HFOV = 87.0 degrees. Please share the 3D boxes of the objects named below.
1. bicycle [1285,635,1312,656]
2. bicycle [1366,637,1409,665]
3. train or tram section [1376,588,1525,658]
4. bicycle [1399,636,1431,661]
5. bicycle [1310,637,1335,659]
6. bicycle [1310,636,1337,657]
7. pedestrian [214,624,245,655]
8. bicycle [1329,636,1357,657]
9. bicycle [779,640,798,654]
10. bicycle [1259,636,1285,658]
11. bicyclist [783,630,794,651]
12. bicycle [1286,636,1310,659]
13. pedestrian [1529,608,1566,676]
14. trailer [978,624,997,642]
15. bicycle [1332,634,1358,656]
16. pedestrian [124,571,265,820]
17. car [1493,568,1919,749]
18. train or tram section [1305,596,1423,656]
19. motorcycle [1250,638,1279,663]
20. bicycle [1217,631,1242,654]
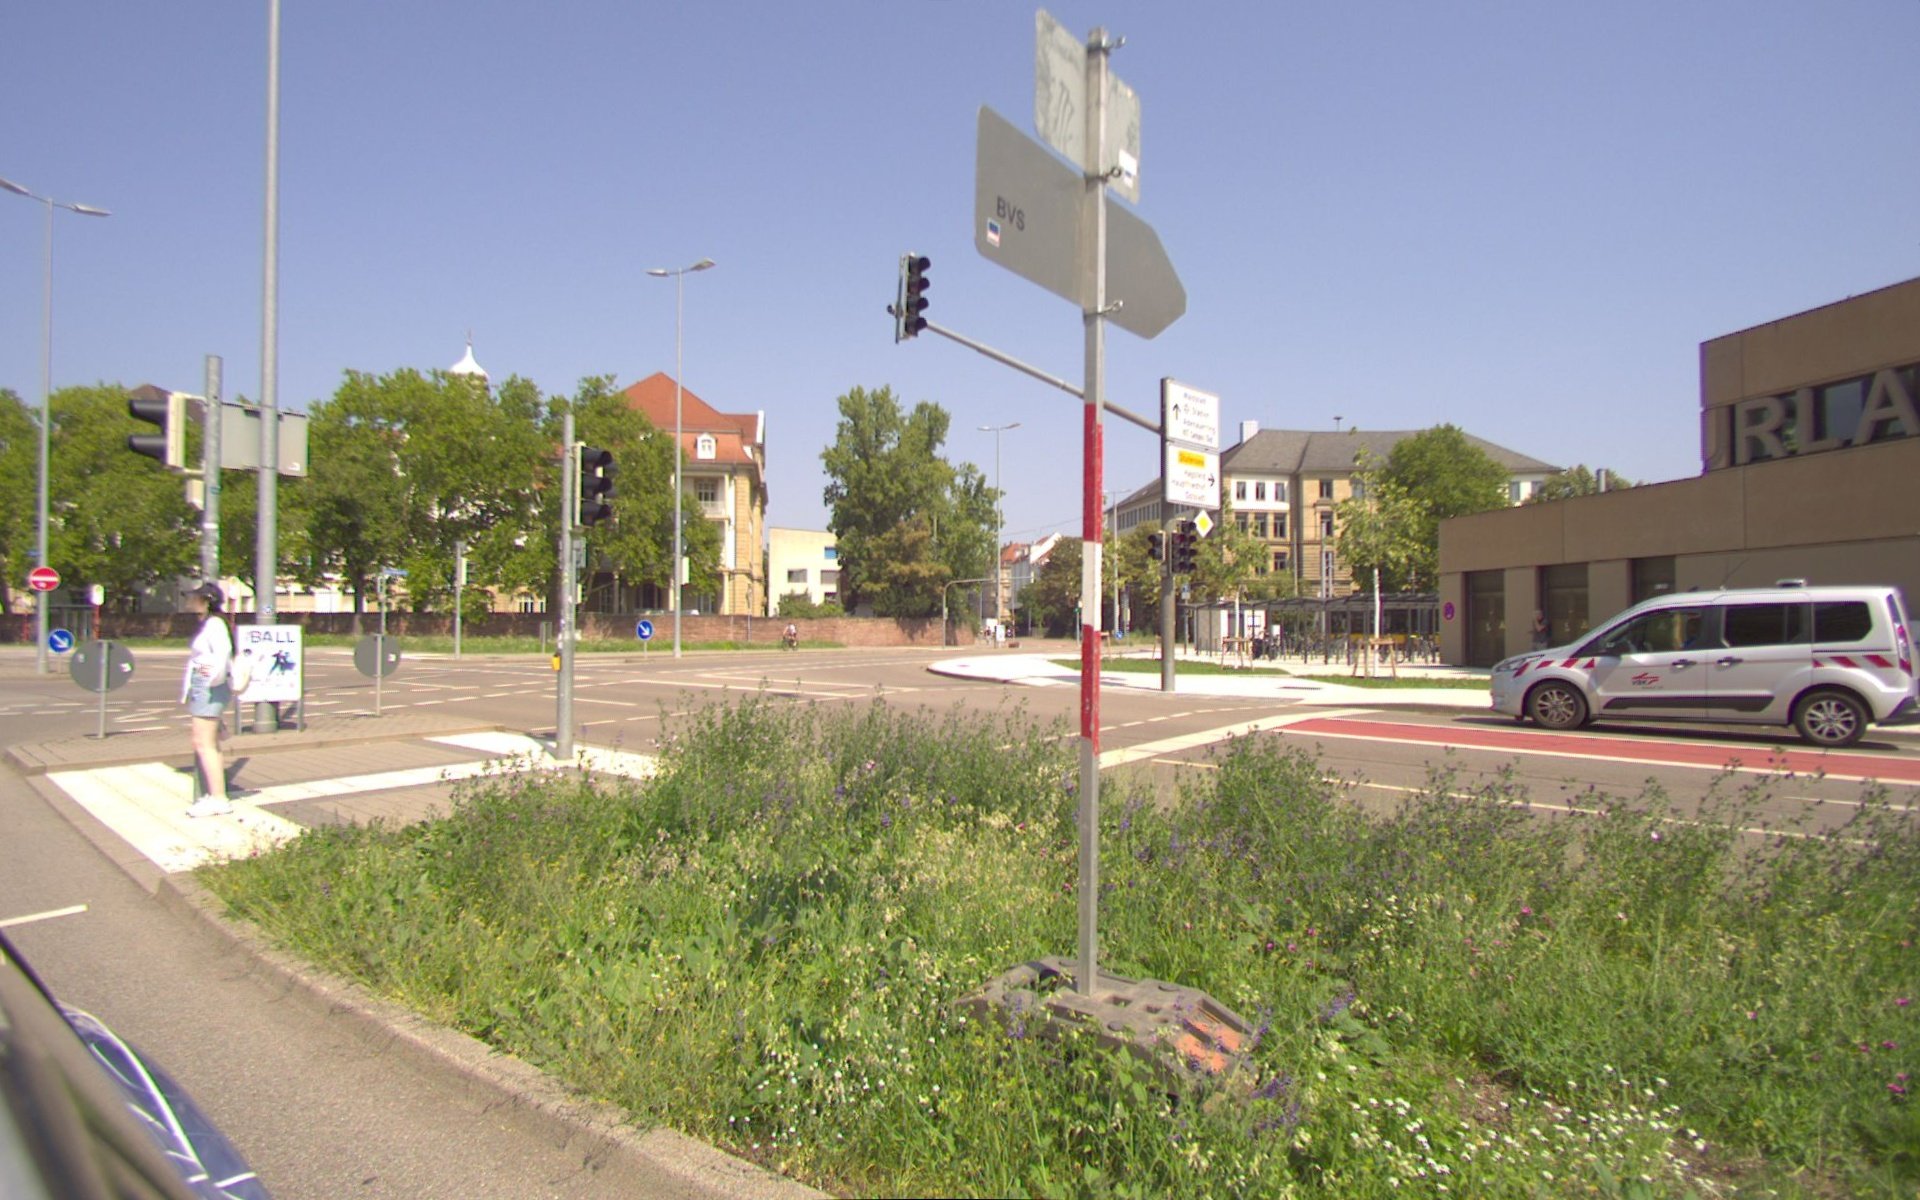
[{"bbox_3d":[16.925,2.275,50.589,0.518,1.048,1.773,1,-2,-8],"label":"bicycle"},{"bbox_3d":[16.444,1.955,38.976,0.504,1.048,1.740,1,-2,-17],"label":"bicycle"},{"bbox_3d":[27.491,1.402,57.305,3.110,3.625,8.544,2,-3,-10],"label":"train or tram section"},{"bbox_3d":[19.516,2.080,43.427,0.406,1.048,1.643,1,-2,-8],"label":"bicycle"},{"bbox_3d":[17.247,2.281,48.205,0.406,1.048,1.643,1,-2,-8],"label":"bicycle"},{"bbox_3d":[18.223,2.336,50.804,0.518,1.048,1.773,1,-2,-8],"label":"bicycle"},{"bbox_3d":[-49.645,2.675,68.782,1.219,2.029,1.070,0,-2,6],"label":"pedestrian"},{"bbox_3d":[19.328,2.351,51.103,0.518,1.048,1.773,1,-2,-8],"label":"bicycle"},{"bbox_3d":[-10.223,2.784,60.342,0.434,0.818,1.475,-1,-2,22],"label":"bicycle"},{"bbox_3d":[15.405,2.301,50.076,0.518,1.048,1.773,1,-2,-8],"label":"bicycle"},{"bbox_3d":[-10.239,2.407,60.308,0.430,1.242,0.536,-1,-2,22],"label":"bicyclist"},{"bbox_3d":[16.134,2.256,48.367,0.406,1.048,1.643,1,-2,-8],"label":"bicycle"},{"bbox_3d":[14.954,1.071,25.779,0.559,1.691,0.537,1,-2,-11],"label":"pedestrian"},{"bbox_3d":[5.011,6.122,187.266,2.401,3.313,5.101,1,-2,-12],"label":"trailer"},{"bbox_3d":[18.476,2.161,48.628,0.406,1.048,1.643,1,-2,-8],"label":"bicycle"},{"bbox_3d":[-5.566,0.672,7.403,0.688,1.708,0.609,2,-2,-28],"label":"pedestrian"},{"bbox_3d":[9.204,0.701,12.488,4.332,1.874,1.973,-1,-5,41],"label":"car"},{"bbox_3d":[25.943,1.787,65.608,3.087,3.588,8.346,2,-3,-10],"label":"train or tram section"},{"bbox_3d":[13.280,2.184,44.152,0.483,1.077,1.782,1,-2,-8],"label":"motorcycle"},{"bbox_3d":[13.301,2.084,49.995,0.518,1.090,1.868,1,-2,-8],"label":"bicycle"}]
